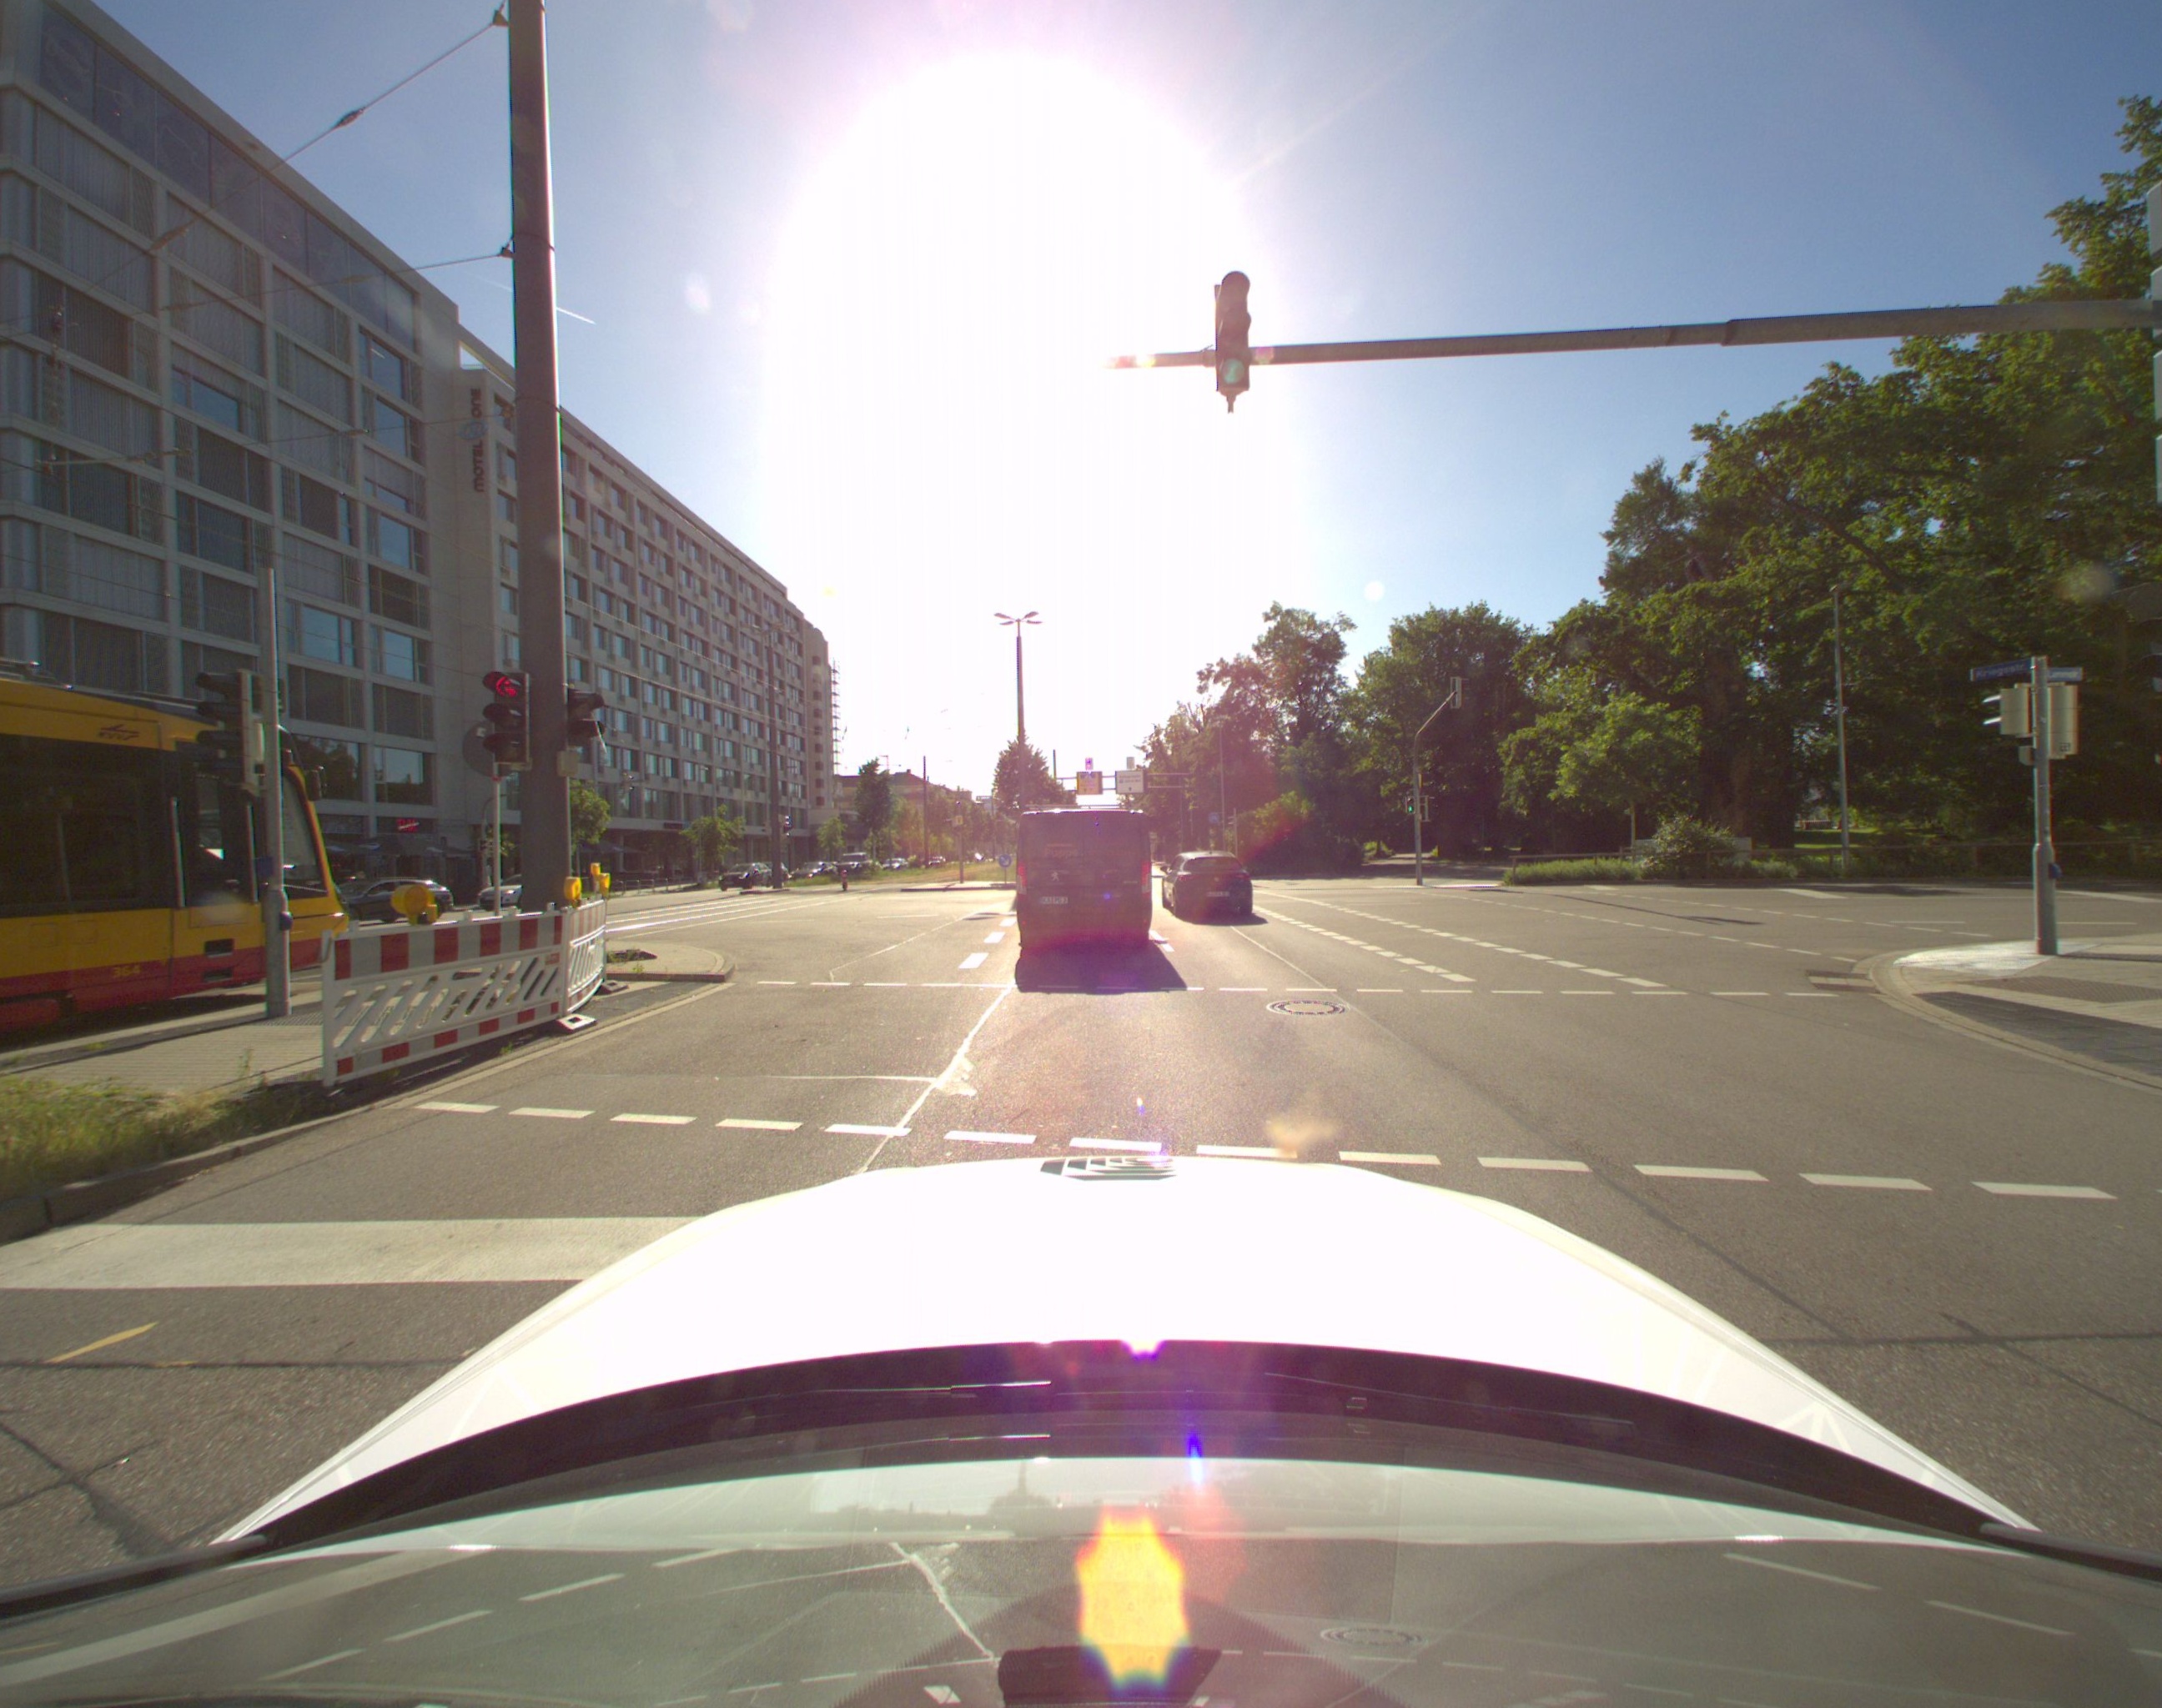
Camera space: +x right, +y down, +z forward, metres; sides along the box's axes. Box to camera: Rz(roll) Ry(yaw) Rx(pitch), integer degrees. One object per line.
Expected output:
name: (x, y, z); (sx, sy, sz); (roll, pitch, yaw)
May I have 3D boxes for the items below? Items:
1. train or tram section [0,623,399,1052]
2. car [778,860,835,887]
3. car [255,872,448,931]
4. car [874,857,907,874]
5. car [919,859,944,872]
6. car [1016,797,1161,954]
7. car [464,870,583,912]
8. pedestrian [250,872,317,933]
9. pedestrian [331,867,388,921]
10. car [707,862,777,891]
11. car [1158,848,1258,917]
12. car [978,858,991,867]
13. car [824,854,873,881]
train or tram section: (-10.383, -0.124, 4.890); (1.984, 3.669, 11.697); (-1, 0, 4)
car: (-16.873, 1.172, 50.298); (1.986, 1.552, 4.002); (-1, 0, 2)
car: (-22.148, 1.387, 24.971); (1.981, 1.552, 4.012); (-1, 0, 10)
car: (-18.498, 1.120, 79.321); (1.985, 1.552, 4.004); (-1, 0, 3)
car: (-18.334, 1.418, 100.035); (1.985, 1.552, 4.004); (-1, 0, 3)
car: (0.150, 0.313, 13.812); (2.075, 2.248, 4.001); (-1, 0, 1)
car: (-23.771, 1.542, 34.899); (1.982, 1.552, 4.009); (-1, 0, 8)
pedestrian: (-27.591, 1.654, 28.200); (1.067, 2.013, 1.264); (-1, 0, -3)
pedestrian: (-27.635, 1.506, 31.230); (1.067, 2.013, 1.264); (-1, 0, -3)
car: (-19.573, 1.284, 47.208); (1.982, 1.552, 4.009); (-1, 0, 8)
car: (2.909, 0.600, 19.463); (1.758, 1.462, 3.999); (-1, 0, 0)
car: (-18.600, 1.635, 157.253); (1.985, 1.552, 4.003); (-1, 0, 3)
car: (-16.528, 0.938, 58.019); (1.985, 1.819, 4.290); (-1, 0, 4)
